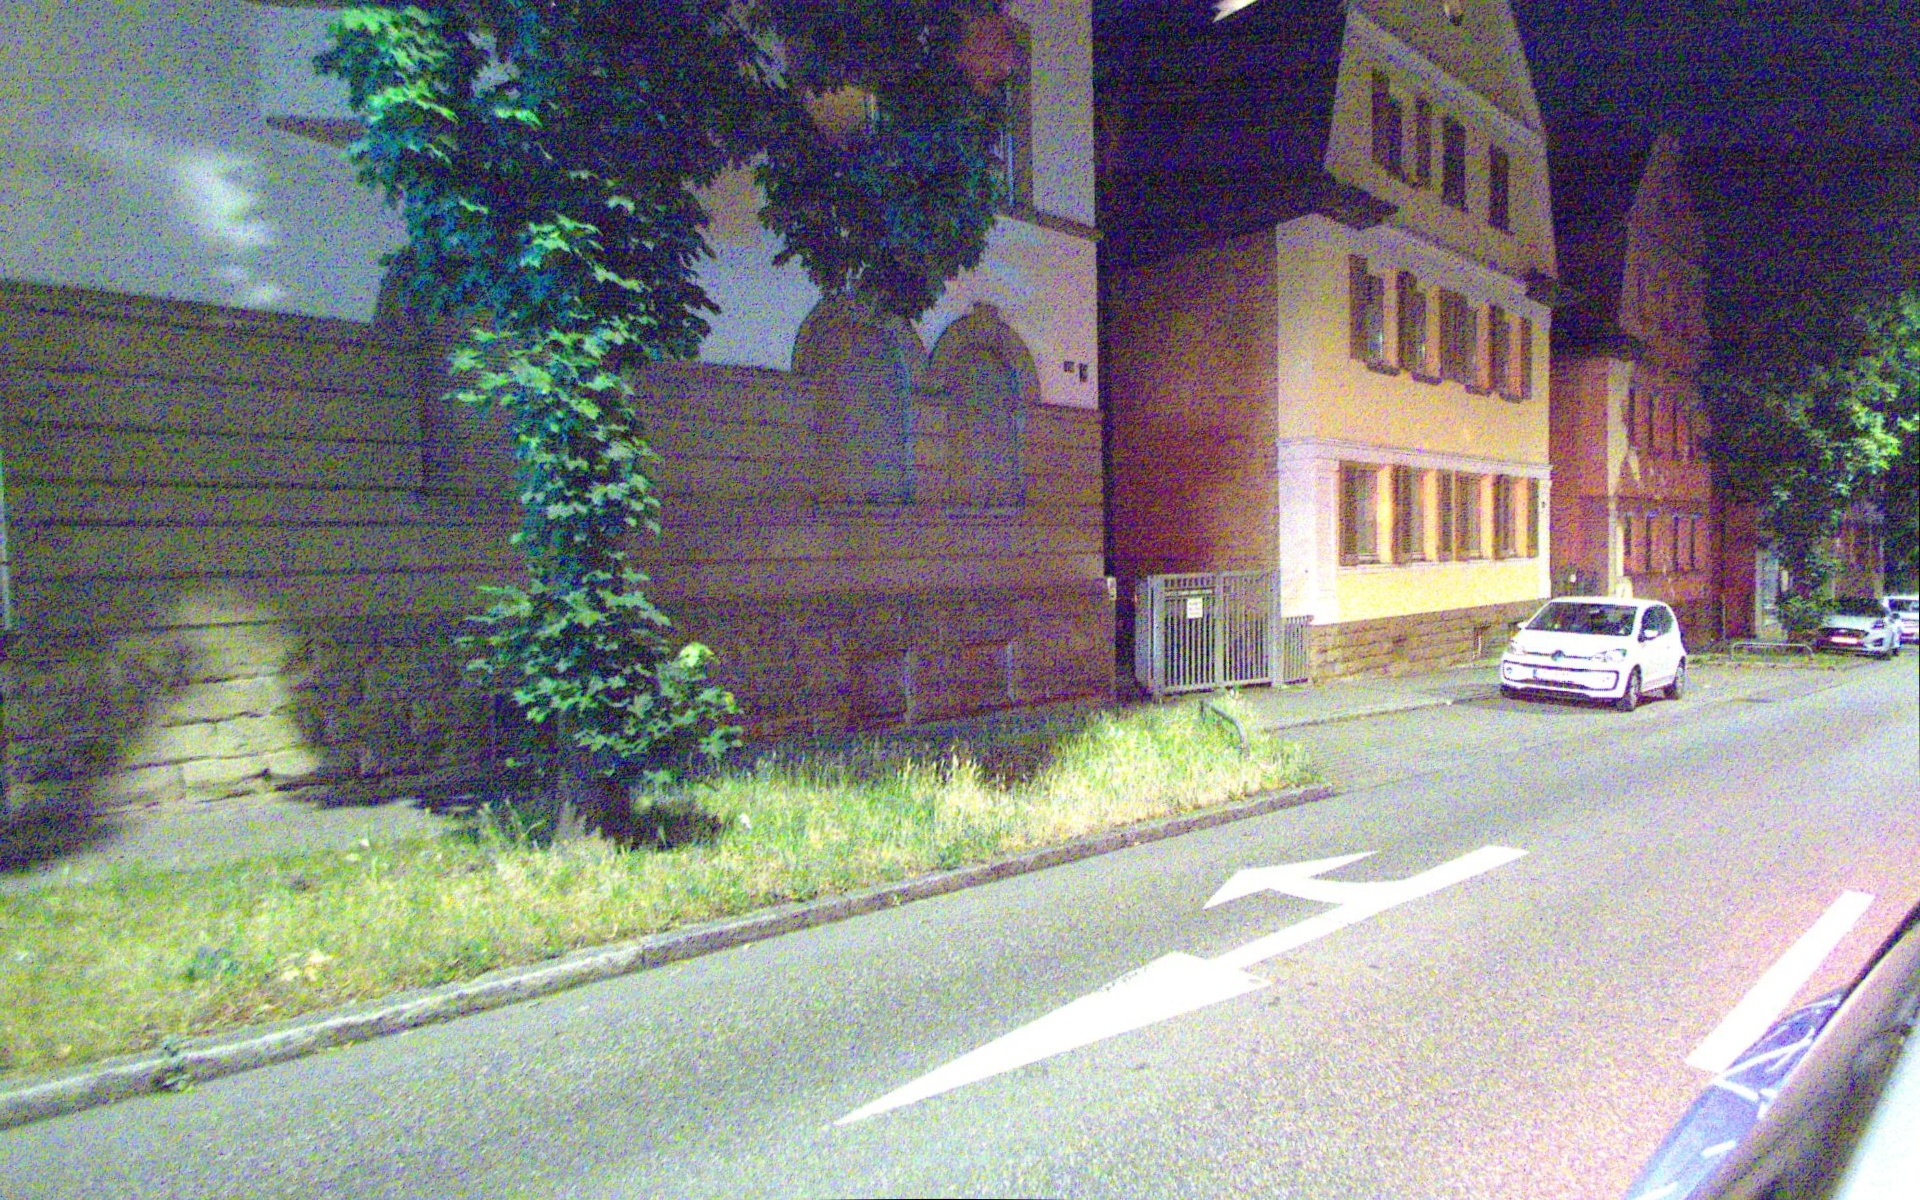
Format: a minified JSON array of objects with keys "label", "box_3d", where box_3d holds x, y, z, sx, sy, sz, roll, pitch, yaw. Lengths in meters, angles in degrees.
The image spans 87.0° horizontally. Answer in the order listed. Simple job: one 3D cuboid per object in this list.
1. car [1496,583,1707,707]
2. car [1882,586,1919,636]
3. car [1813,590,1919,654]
[{"label":"car","box_3d":[9.262,0.557,14.522,3.425,1.527,1.610,0,2,-41]},{"label":"car","box_3d":[33.541,0.373,35.139,4.107,1.673,1.850,0,0,-42]},{"label":"car","box_3d":[23.617,0.511,26.282,3.824,1.516,1.740,0,2,-43]}]
